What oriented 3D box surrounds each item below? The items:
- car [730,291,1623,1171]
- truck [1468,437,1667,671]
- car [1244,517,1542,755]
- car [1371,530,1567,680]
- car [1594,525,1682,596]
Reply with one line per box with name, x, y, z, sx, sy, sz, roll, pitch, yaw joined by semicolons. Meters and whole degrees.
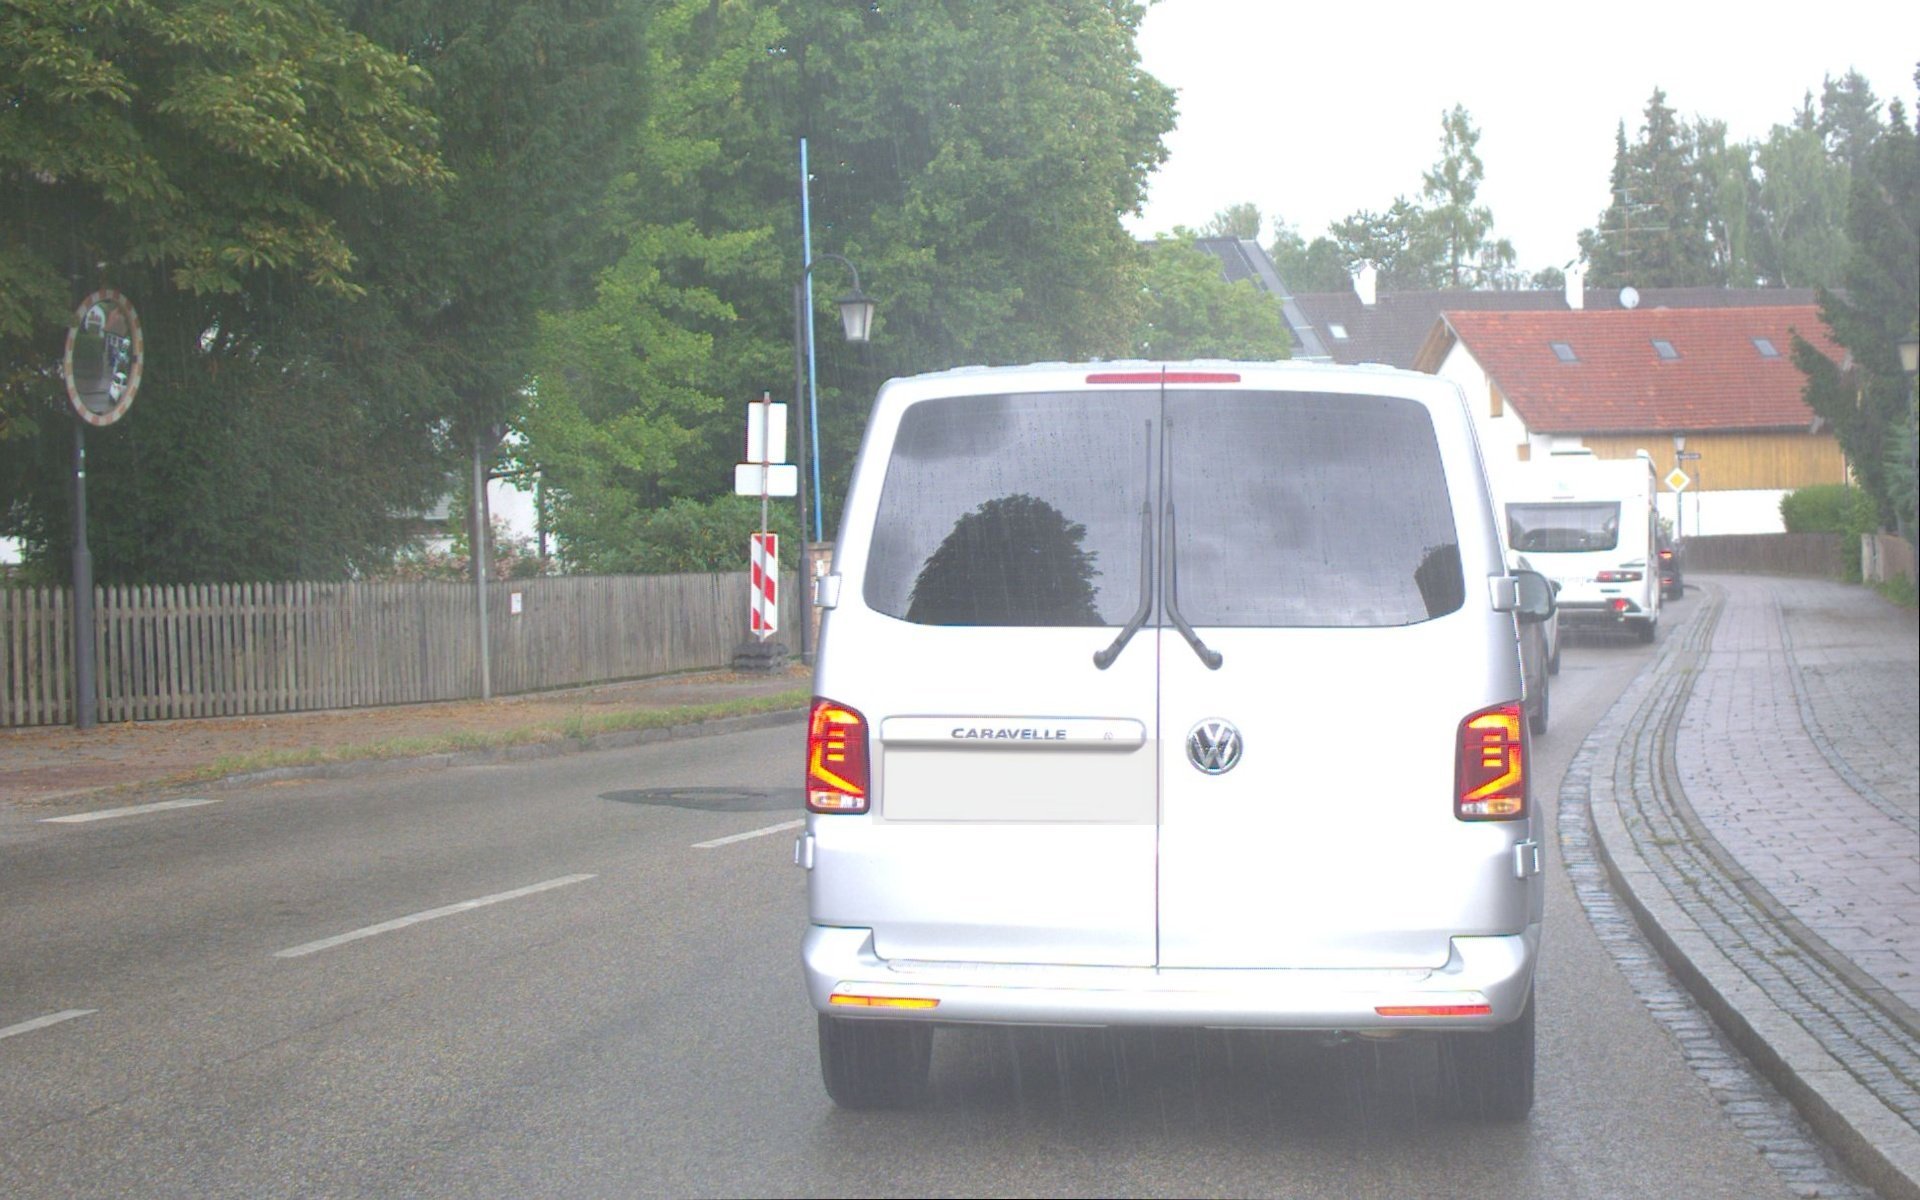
car;0.849;0.274;10.002;1.802;2.007;3.997;1;1;15
truck;8.687;-0.640;48.702;2.477;3.063;6.292;1;1;12
car;3.262;0.222;25.283;1.802;1.583;3.998;1;1;12
car;5.545;0.038;37.124;1.802;1.503;3.998;1;1;12
car;14.952;-0.856;75.684;1.802;1.503;3.998;1;1;12
